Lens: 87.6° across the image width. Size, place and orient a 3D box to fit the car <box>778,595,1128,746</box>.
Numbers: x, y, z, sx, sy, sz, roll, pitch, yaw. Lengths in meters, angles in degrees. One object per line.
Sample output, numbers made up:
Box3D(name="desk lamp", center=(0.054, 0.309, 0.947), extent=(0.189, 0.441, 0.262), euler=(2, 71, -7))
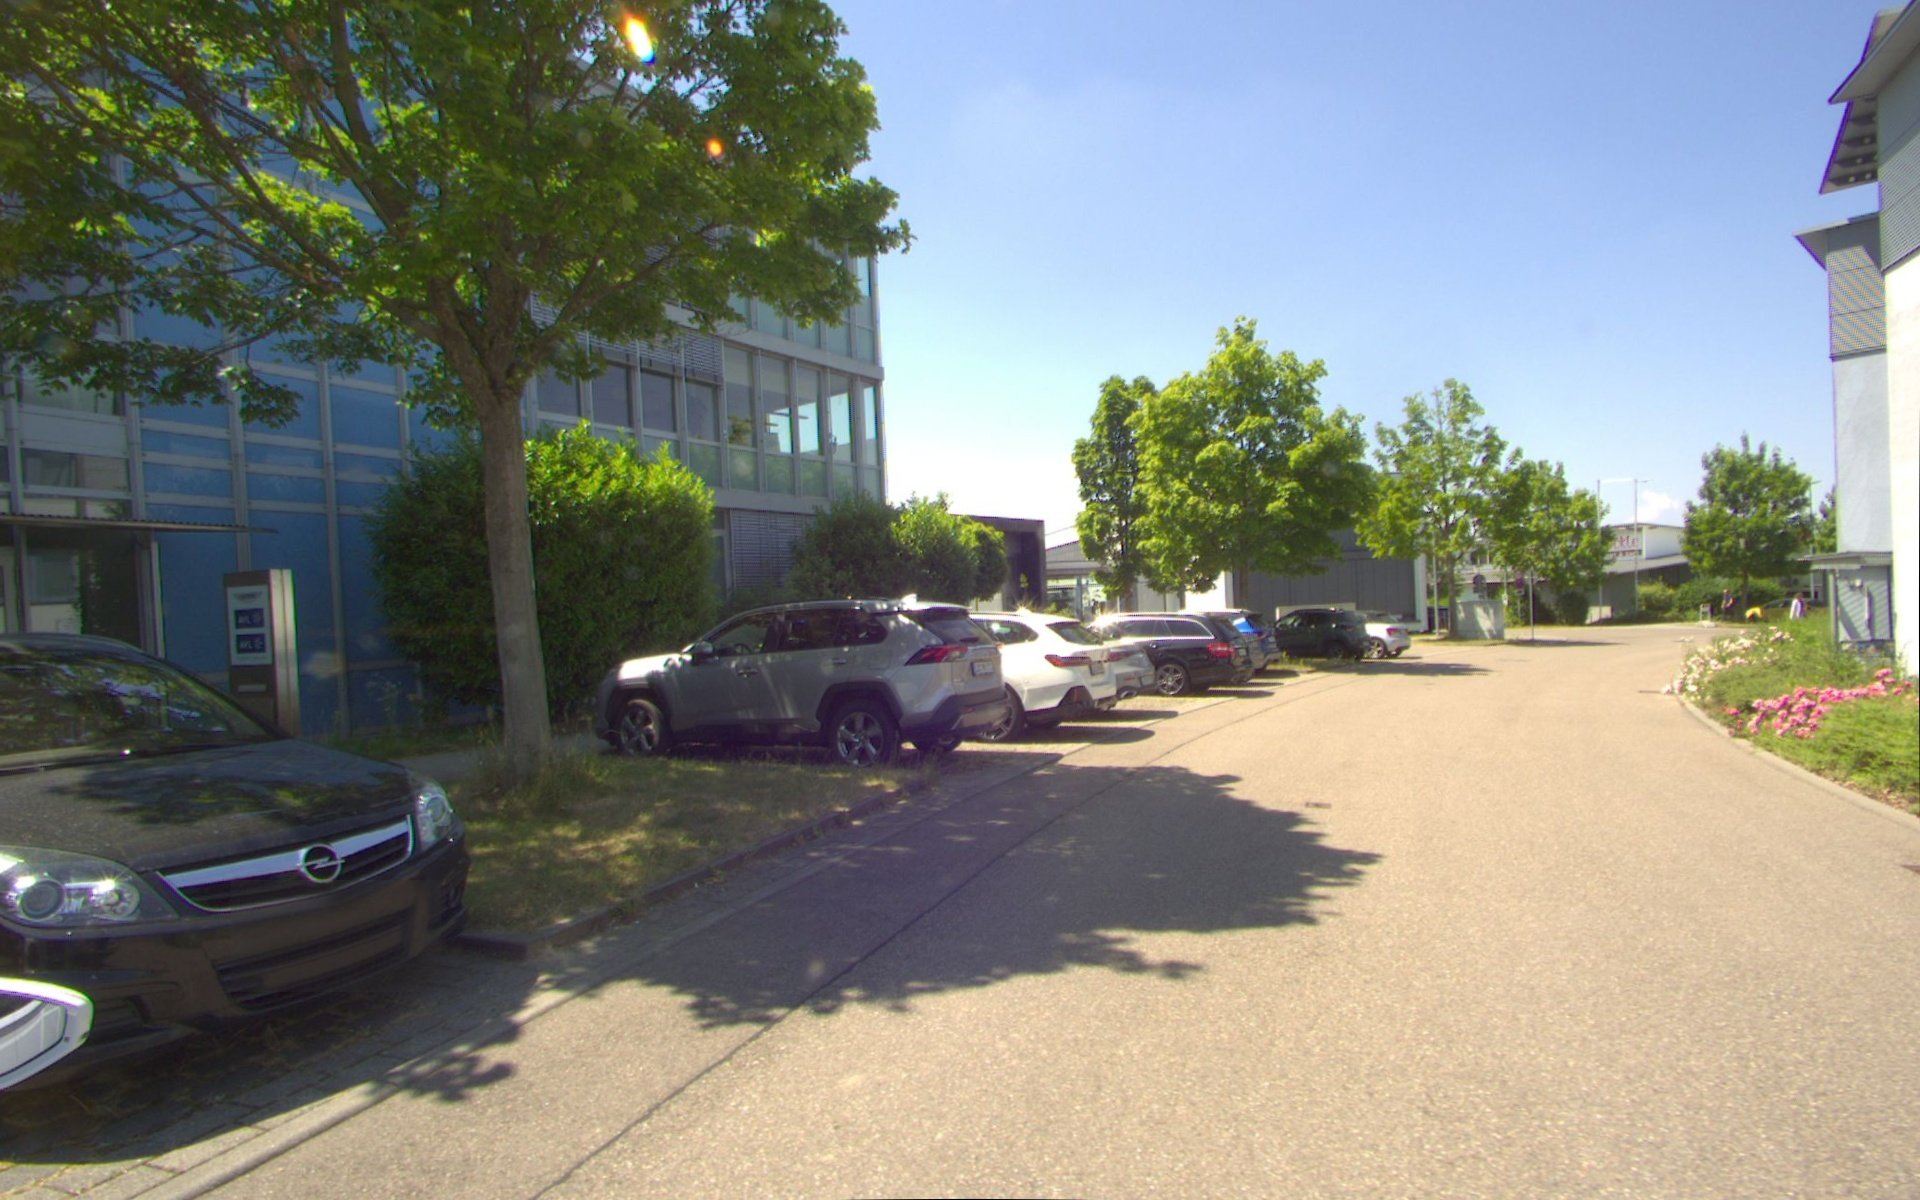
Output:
Box3D(name="car", center=(-0.105, 0.820, 12.690), extent=(4.133, 1.664, 1.656), euler=(-1, -1, 24))

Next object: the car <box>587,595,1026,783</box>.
Box3D(name="car", center=(-1.621, 0.827, 10.556), extent=(4.260, 1.664, 1.852), euler=(-1, -1, 24))

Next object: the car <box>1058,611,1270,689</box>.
Box3D(name="car", center=(4.276, 1.015, 21.019), extent=(4.110, 1.505, 1.655), euler=(-1, -1, 25))

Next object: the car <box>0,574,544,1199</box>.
Box3D(name="car", center=(-4.130, 0.809, 4.147), extent=(4.488, 1.569, 1.759), euler=(-2, -1, 22))

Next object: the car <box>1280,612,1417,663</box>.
Box3D(name="car", center=(11.750, 1.100, 30.383), extent=(3.550, 1.462, 1.622), euler=(-1, -1, 42))

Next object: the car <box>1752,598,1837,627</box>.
Box3D(name="car", center=(45.164, 0.693, 54.254), extent=(1.560, 1.461, 3.212), euler=(-1, -1, -14))

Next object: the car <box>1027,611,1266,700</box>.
Box3D(name="car", center=(3.461, 0.985, 18.842), extent=(4.117, 1.505, 1.652), euler=(-1, -1, 32))

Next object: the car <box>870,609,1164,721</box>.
Box3D(name="car", center=(0.848, 0.915, 15.046), extent=(4.109, 1.505, 1.656), euler=(-1, -1, 24))

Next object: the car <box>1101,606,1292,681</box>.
Box3D(name="car", center=(5.569, 0.995, 23.809), extent=(4.126, 1.626, 1.649), euler=(-1, -1, 38))

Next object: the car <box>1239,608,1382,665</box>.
Box3D(name="car", center=(10.021, 1.014, 28.773), extent=(3.550, 1.545, 1.622), euler=(-1, -1, 42))
